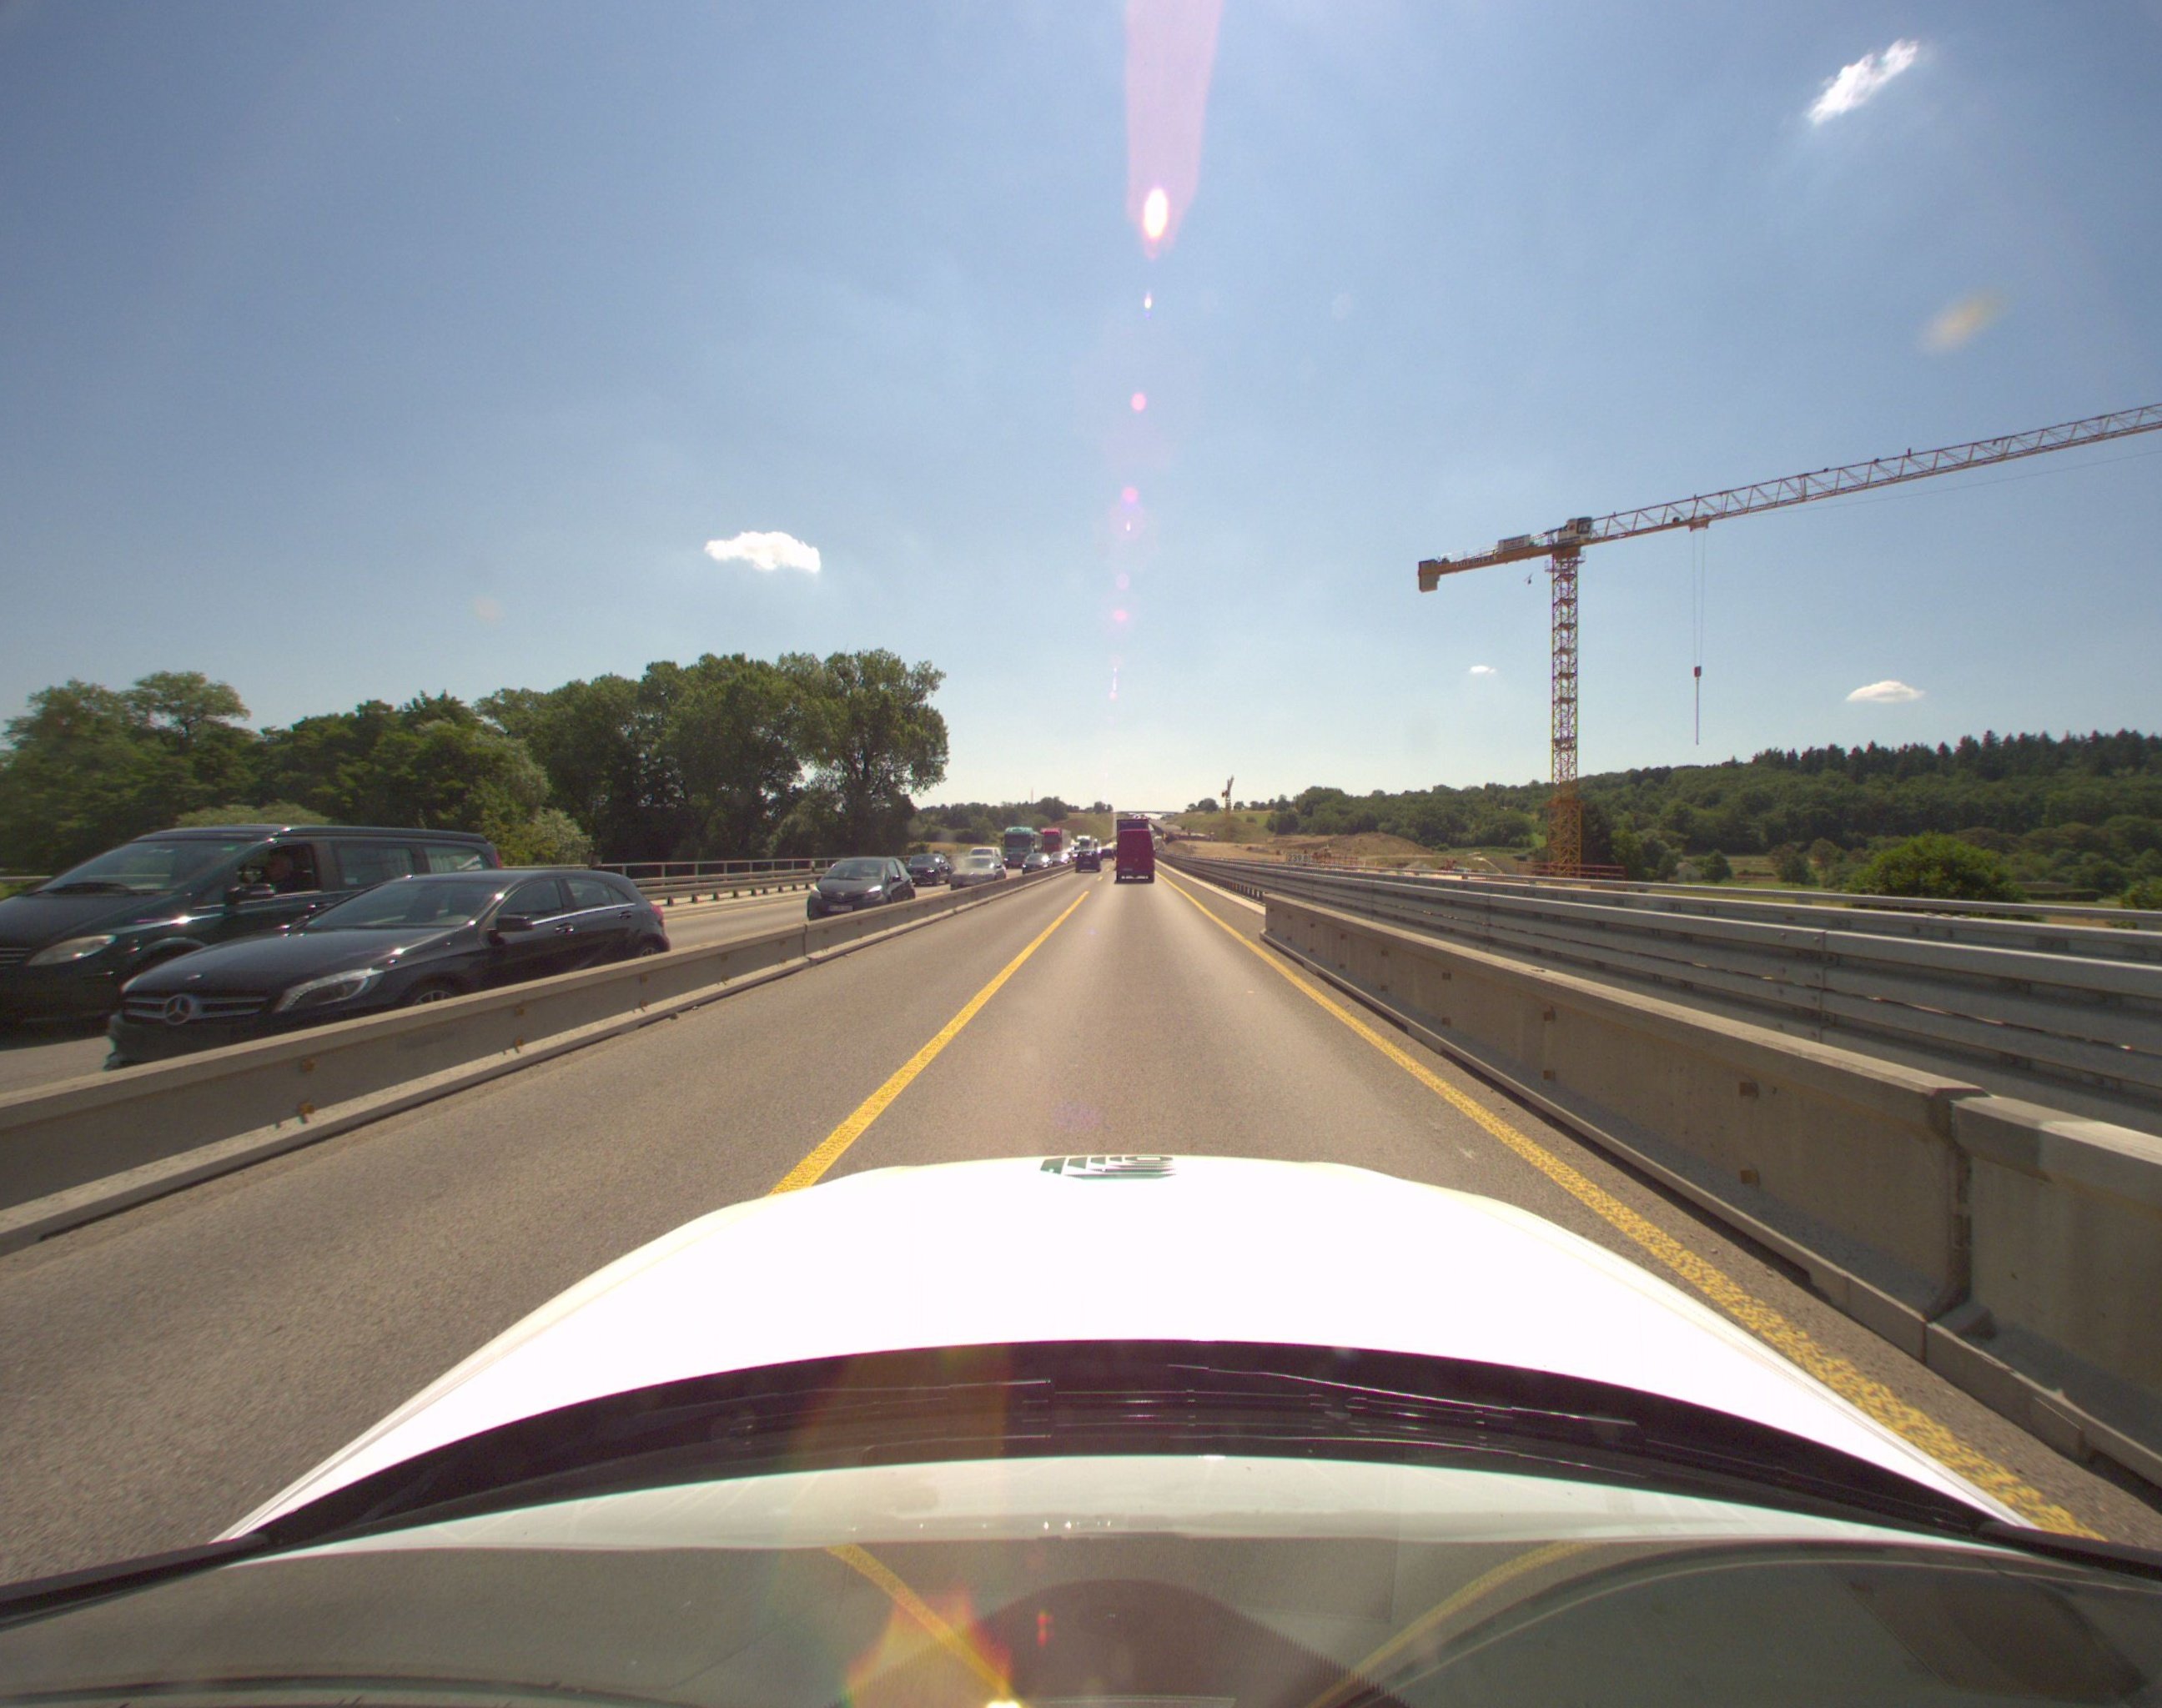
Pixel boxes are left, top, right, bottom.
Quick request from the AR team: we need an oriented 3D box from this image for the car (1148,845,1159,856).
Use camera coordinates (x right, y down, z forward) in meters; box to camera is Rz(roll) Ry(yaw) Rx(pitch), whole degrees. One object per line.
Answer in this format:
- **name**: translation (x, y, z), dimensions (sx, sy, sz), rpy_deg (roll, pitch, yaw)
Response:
- **car**: translation (11.207, -0.539, 126.258), dimensions (1.611, 1.699, 3.892), rpy_deg (1, 0, 3)

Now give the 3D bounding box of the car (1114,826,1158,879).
- **car**: translation (2.924, -0.091, 42.929), dimensions (2.140, 2.611, 5.445), rpy_deg (1, 0, 4)

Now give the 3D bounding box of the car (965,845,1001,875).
- **car**: translation (-6.693, 0.390, 56.046), dimensions (1.987, 2.013, 4.000), rpy_deg (0, 0, 0)

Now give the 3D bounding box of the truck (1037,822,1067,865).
- **truck**: translation (-3.454, -1.258, 100.944), dimensions (2.797, 4.939, 12.140), rpy_deg (1, 0, 2)

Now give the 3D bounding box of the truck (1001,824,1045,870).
- **truck**: translation (-5.389, -0.644, 77.676), dimensions (2.797, 3.964, 12.140), rpy_deg (1, 0, 2)

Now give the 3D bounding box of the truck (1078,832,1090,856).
- **truck**: translation (0.646, -1.801, 153.718), dimensions (1.985, 4.006, 6.485), rpy_deg (0, -4, 3)

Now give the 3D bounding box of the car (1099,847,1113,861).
- **car**: translation (3.256, -0.035, 104.802), dimensions (1.813, 1.697, 4.136), rpy_deg (1, 0, 2)

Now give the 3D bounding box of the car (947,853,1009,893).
- **car**: translation (-4.125, 0.739, 33.260), dimensions (1.813, 1.496, 4.136), rpy_deg (1, 0, 2)

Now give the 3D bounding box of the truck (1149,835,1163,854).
- **truck**: translation (13.407, -1.677, 145.951), dimensions (2.282, 3.196, 6.486), rpy_deg (0, 0, 2)

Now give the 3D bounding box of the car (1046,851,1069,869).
- **car**: translation (-2.018, 0.462, 70.363), dimensions (1.703, 1.496, 3.603), rpy_deg (1, 0, 2)

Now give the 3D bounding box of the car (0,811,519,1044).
- **car**: translation (-9.203, 0.601, 9.354), dimensions (1.813, 1.943, 5.067), rpy_deg (1, 0, 2)

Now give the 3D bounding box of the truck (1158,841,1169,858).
- **truck**: translation (19.463, -1.041, 191.935), dimensions (2.282, 3.739, 6.485), rpy_deg (0, -4, 3)

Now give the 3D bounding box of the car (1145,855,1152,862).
- **car**: translation (17.318, 1.156, 210.337), dimensions (1.611, 1.836, 3.890), rpy_deg (0, -1, 2)

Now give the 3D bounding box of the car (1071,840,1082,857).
- **car**: translation (-0.715, -0.910, 129.554), dimensions (1.611, 2.602, 3.892), rpy_deg (1, 0, 3)

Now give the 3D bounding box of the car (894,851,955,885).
- **car**: translation (-7.538, 0.634, 39.750), dimensions (1.813, 1.496, 5.175), rpy_deg (1, 0, 2)

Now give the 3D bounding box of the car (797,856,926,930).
- **car**: translation (-4.932, 0.806, 18.930), dimensions (1.719, 1.496, 4.136), rpy_deg (1, 0, 2)

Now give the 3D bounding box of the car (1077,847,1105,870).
- **car**: translation (0.758, 0.331, 60.634), dimensions (1.726, 1.635, 4.395), rpy_deg (1, -1, 5)

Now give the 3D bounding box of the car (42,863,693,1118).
- **car**: translation (-5.490, 0.867, 7.268), dimensions (1.750, 1.496, 4.443), rpy_deg (1, 0, 2)

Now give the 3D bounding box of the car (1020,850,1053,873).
- **car**: translation (-2.976, 0.492, 55.200), dimensions (1.813, 1.496, 4.136), rpy_deg (1, 0, 2)

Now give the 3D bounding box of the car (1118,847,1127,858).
- **car**: translation (6.923, -0.227, 135.785), dimensions (1.611, 1.699, 3.892), rpy_deg (1, 0, 3)

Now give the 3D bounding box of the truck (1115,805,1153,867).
- **truck**: translation (4.386, -1.453, 68.600), dimensions (2.934, 4.945, 6.743), rpy_deg (0, 0, 2)
